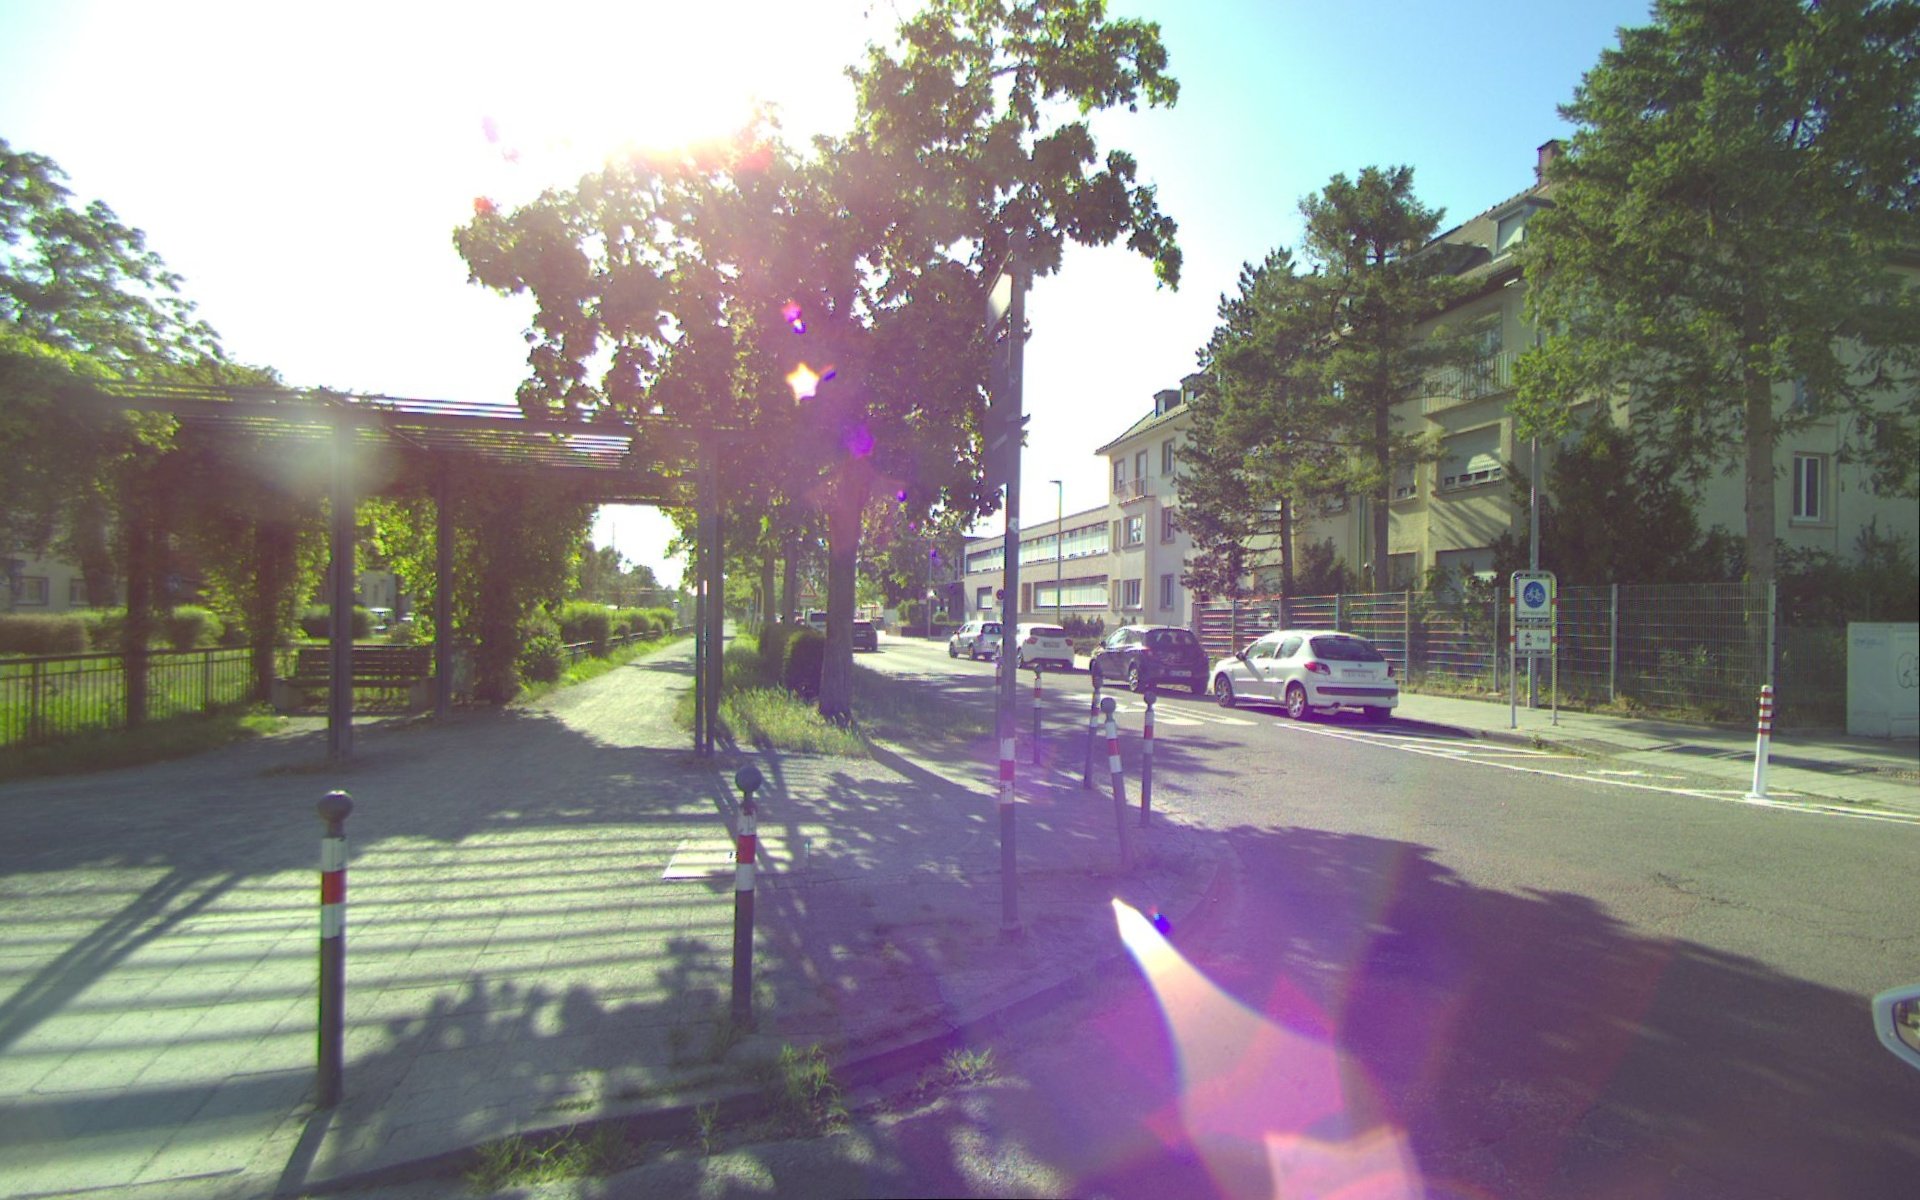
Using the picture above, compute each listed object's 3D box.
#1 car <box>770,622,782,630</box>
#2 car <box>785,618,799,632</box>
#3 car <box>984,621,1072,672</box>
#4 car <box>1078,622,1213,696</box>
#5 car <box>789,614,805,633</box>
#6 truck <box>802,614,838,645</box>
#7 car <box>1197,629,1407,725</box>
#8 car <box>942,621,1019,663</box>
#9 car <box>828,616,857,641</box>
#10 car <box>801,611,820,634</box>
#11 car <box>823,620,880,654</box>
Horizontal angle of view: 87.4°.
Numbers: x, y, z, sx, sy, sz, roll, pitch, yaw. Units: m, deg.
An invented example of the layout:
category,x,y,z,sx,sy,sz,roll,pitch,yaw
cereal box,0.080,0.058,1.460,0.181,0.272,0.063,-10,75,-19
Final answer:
category,x,y,z,sx,sy,sz,roll,pitch,yaw
car,-32.076,4.482,174.961,1.792,1.376,3.990,1,-1,-13
car,-23.881,3.525,142.739,1.792,1.859,3.990,1,-1,-13
car,2.154,1.482,33.069,1.770,1.514,3.990,2,-1,-13
car,4.154,1.291,23.091,1.648,1.514,3.817,2,-1,-13
car,-21.173,3.004,130.456,1.792,2.385,3.990,1,-1,-13
truck,-9.707,2.043,69.323,1.966,2.063,4.861,1,-1,-13
car,5.739,1.258,17.353,1.678,1.417,3.766,2,-1,-14
car,0.724,1.601,39.041,1.773,1.514,3.985,2,-2,-18
car,-9.272,2.233,79.111,1.792,1.854,3.990,1,-1,-13
car,-17.027,2.546,114.407,1.792,2.551,3.990,1,-1,-13
car,-5.291,1.734,48.358,1.967,1.545,4.740,1,-1,-16
